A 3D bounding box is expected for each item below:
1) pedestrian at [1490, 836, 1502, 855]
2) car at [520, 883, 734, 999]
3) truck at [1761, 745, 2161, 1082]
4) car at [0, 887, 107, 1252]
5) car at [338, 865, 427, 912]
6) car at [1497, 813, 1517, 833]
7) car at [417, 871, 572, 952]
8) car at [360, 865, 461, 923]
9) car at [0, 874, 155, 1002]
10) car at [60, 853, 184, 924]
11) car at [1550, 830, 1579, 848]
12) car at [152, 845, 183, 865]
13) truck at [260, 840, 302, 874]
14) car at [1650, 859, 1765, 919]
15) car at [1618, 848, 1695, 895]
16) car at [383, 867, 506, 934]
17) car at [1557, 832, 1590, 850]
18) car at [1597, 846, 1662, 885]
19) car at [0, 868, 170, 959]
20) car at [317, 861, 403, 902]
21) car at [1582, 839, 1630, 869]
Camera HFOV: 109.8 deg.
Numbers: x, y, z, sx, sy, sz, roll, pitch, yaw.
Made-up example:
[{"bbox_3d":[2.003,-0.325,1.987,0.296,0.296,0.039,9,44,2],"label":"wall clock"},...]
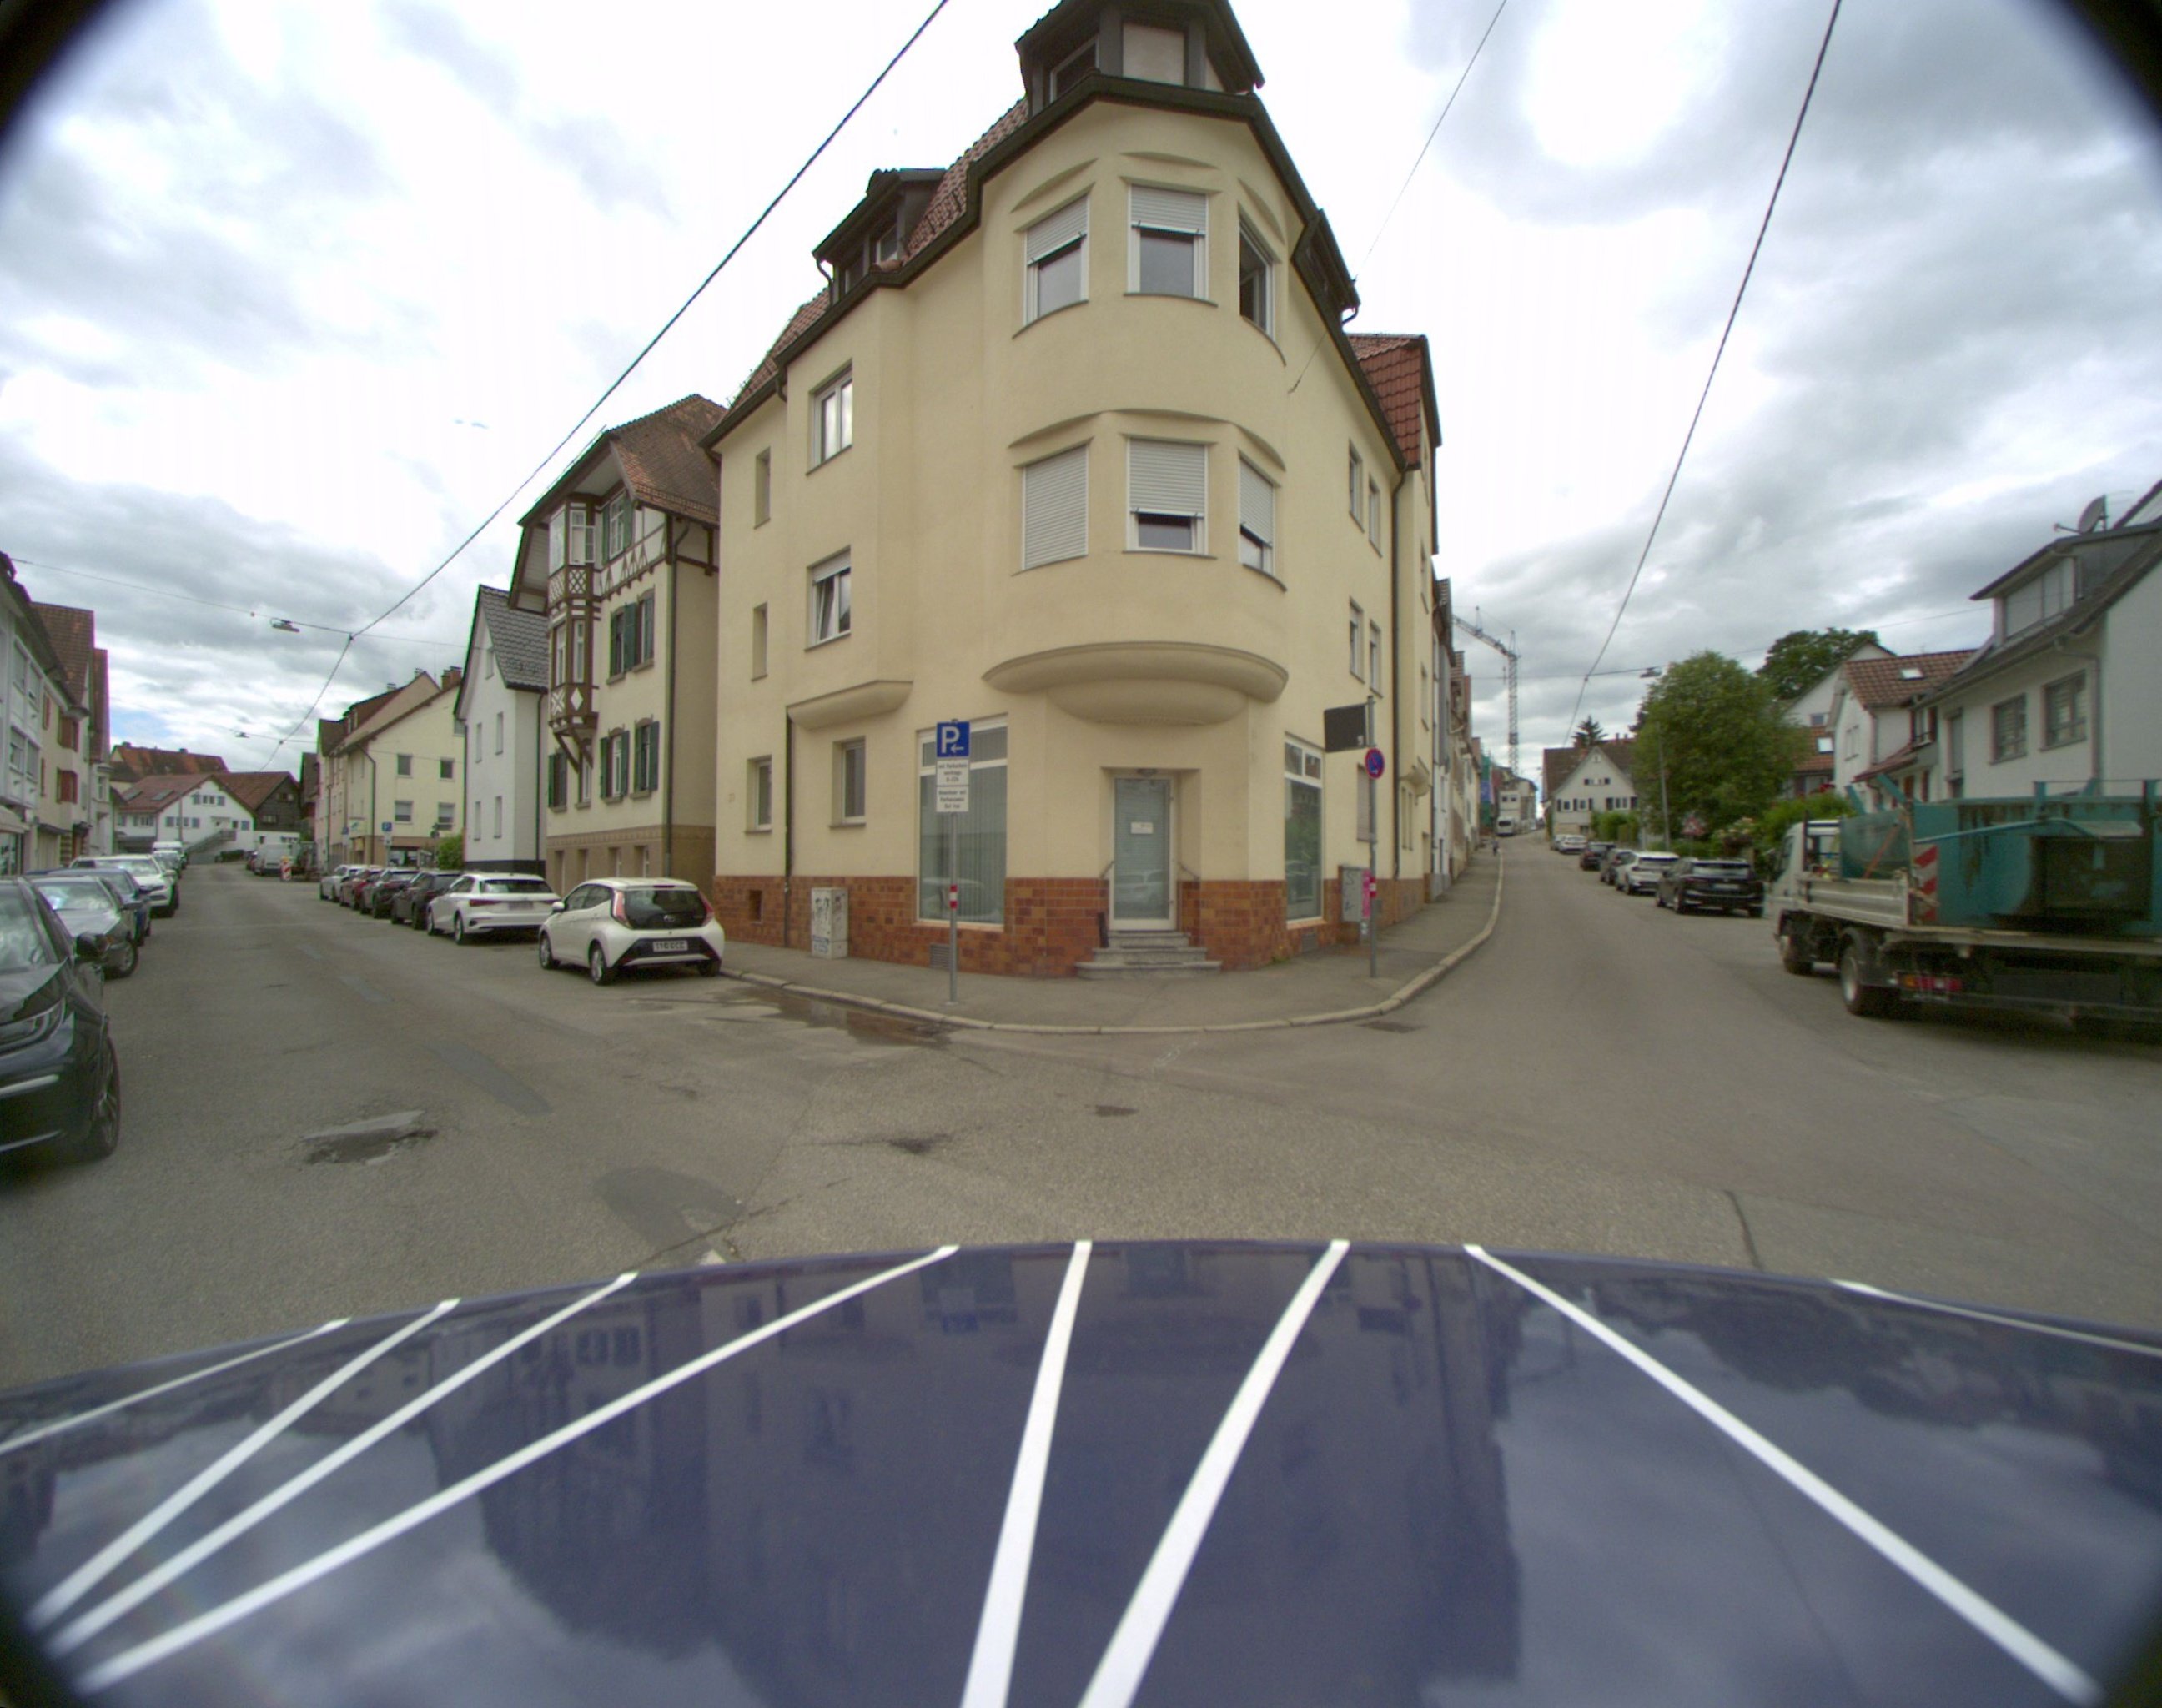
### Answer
[{"bbox_3d":[33.203,-0.655,60.794,0.755,1.480,0.567,-1,1,16],"label":"pedestrian"},{"bbox_3d":[-7.052,1.189,11.660,3.805,1.425,1.676,0,-2,41],"label":"car"},{"bbox_3d":[9.720,0.492,8.445,2.311,2.537,6.302,1,0,34],"label":"truck"},{"bbox_3d":[-6.823,1.039,4.136,4.015,1.534,1.827,0,1,38],"label":"car"},{"bbox_3d":[-24.344,1.167,26.434,4.054,1.440,1.762,1,-2,41],"label":"car"},{"bbox_3d":[57.371,-4.206,102.384,2.189,2.631,5.836,1,2,29],"label":"car"},{"bbox_3d":[-12.763,1.167,16.441,4.357,1.423,1.762,1,-2,41],"label":"car"},{"bbox_3d":[-20.282,1.169,22.928,4.072,1.500,1.762,1,-2,42],"label":"car"},{"bbox_3d":[-15.070,1.111,11.129,4.564,1.409,1.796,1,3,40],"label":"car"},{"bbox_3d":[-26.305,0.856,20.977,4.480,1.695,1.906,1,1,41],"label":"car"},{"bbox_3d":[42.245,-1.361,66.481,1.851,1.442,3.952,1,4,28],"label":"car"},{"bbox_3d":[-81.734,0.079,68.025,3.540,1.717,1.610,1,3,41],"label":"car"},{"bbox_3d":[-59.446,0.185,56.428,5.469,2.378,1.789,1,0,40],"label":"truck"},{"bbox_3d":[17.492,0.899,21.420,1.851,1.455,3.954,1,1,30],"label":"car"},{"bbox_3d":[21.920,0.620,29.076,1.851,1.641,3.954,1,1,30],"label":"car"},{"bbox_3d":[-16.512,1.156,19.634,4.357,1.447,1.762,1,-2,42],"label":"car"},{"bbox_3d":[39.592,-1.055,61.159,1.851,1.441,3.953,1,2,28],"label":"car"},{"bbox_3d":[25.049,0.472,34.830,1.851,1.641,3.953,1,2,28],"label":"car"},{"bbox_3d":[-19.379,1.050,14.956,3.916,1.424,1.761,1,1,41],"label":"car"},{"bbox_3d":[-28.344,1.073,29.830,4.336,1.422,1.762,1,-2,38],"label":"car"},{"bbox_3d":[30.860,-0.053,44.770,1.851,1.641,3.953,1,2,28],"label":"car"}]
